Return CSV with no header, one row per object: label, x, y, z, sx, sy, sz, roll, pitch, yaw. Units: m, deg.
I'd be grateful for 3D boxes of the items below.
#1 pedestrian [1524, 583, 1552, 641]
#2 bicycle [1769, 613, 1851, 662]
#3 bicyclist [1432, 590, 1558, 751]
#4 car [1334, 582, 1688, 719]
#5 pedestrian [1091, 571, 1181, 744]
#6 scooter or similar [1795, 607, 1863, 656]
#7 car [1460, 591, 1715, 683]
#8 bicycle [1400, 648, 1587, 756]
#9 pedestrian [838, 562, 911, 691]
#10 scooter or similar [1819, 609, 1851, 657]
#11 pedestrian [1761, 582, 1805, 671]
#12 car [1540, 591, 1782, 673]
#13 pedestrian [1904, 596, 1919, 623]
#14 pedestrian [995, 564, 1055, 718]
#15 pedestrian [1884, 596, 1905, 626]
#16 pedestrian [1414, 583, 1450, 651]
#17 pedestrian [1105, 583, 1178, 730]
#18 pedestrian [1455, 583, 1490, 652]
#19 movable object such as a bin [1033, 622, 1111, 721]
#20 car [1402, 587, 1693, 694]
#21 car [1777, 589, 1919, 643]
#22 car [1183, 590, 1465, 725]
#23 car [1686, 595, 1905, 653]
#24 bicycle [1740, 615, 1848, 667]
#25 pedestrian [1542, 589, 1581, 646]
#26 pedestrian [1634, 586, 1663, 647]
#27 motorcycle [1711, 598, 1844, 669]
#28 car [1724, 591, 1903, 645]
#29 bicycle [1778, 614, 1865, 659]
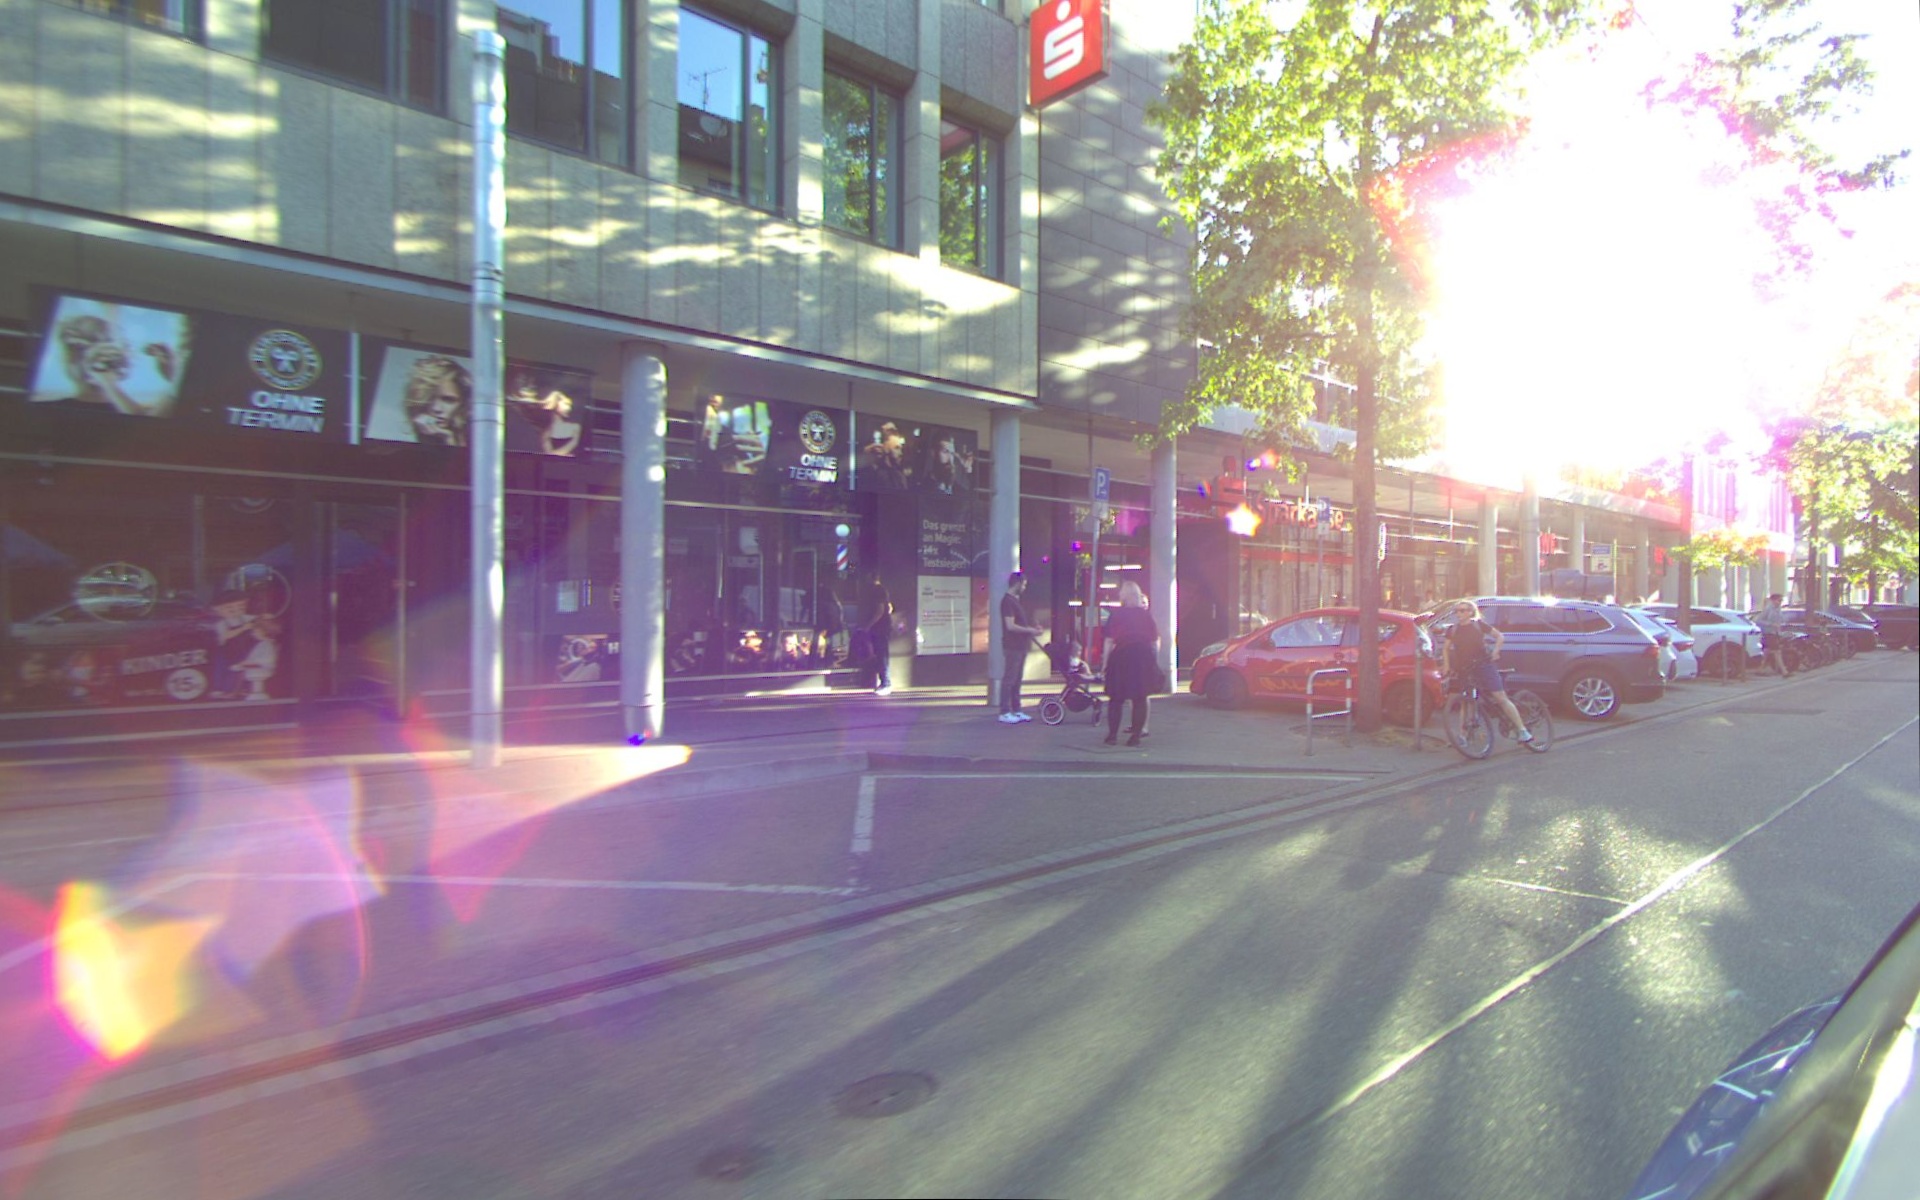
pedestrian,18.207,0.372,31.885,0.515,1.772,0.558,0,2,-41
bicycle,22.060,0.959,26.286,1.662,1.177,0.481,2,2,-1
bicyclist,5.739,0.727,10.878,0.894,1.634,0.781,0,-2,-27
car,7.905,0.648,15.007,4.299,1.672,1.685,2,2,18
pedestrian,1.808,0.571,10.473,0.682,1.706,0.682,2,1,-7
scooter or similar,25.364,0.906,29.561,1.289,1.291,0.561,3,3,18
car,12.394,0.676,20.326,4.118,1.517,1.674,3,2,26
bicycle,5.712,1.052,10.814,2.017,1.008,0.721,0,-2,-27
pedestrian,-1.258,0.374,14.744,0.767,1.807,0.848,0,-1,-30
scooter or similar,24.841,0.916,28.726,1.284,1.291,0.451,0,4,-43
pedestrian,18.615,0.587,22.899,0.651,1.942,0.584,0,2,-39
car,15.862,0.678,23.162,4.102,1.591,1.845,2,1,16
pedestrian,64.930,0.656,69.047,0.624,1.854,0.689,0,0,-41
pedestrian,0.758,0.458,11.956,0.621,1.753,0.689,2,1,1
pedestrian,59.766,0.699,64.710,0.901,1.921,0.836,1,1,-39
pedestrian,12.457,0.440,26.719,0.588,1.765,0.626,1,1,-36
pedestrian,2.018,0.614,11.318,0.677,1.571,0.607,2,1,3
pedestrian,13.324,0.437,26.317,0.589,1.765,0.625,1,1,-43
movable object such as a bin,1.312,0.830,11.951,0.818,1.077,0.689,2,1,1
car,10.457,0.656,18.413,4.194,1.607,1.874,2,2,18
car,34.496,0.597,38.647,4.610,1.785,1.982,3,2,20
car,4.951,0.679,13.832,3.370,1.499,1.650,3,2,30
car,26.796,0.729,32.661,4.986,1.487,1.970,3,2,14
bicycle,20.489,0.996,24.899,1.873,1.133,0.663,2,2,21
pedestrian,17.730,0.509,29.821,0.866,1.644,0.715,1,1,-40
pedestrian,19.922,0.469,29.277,0.677,1.718,0.543,0,-1,37
motorcycle,19.391,0.776,24.045,2.278,1.528,0.858,2,2,6
car,31.351,0.616,37.371,4.620,1.675,1.991,3,2,26
bicycle,23.629,0.980,27.790,1.544,1.102,0.864,3,1,19
